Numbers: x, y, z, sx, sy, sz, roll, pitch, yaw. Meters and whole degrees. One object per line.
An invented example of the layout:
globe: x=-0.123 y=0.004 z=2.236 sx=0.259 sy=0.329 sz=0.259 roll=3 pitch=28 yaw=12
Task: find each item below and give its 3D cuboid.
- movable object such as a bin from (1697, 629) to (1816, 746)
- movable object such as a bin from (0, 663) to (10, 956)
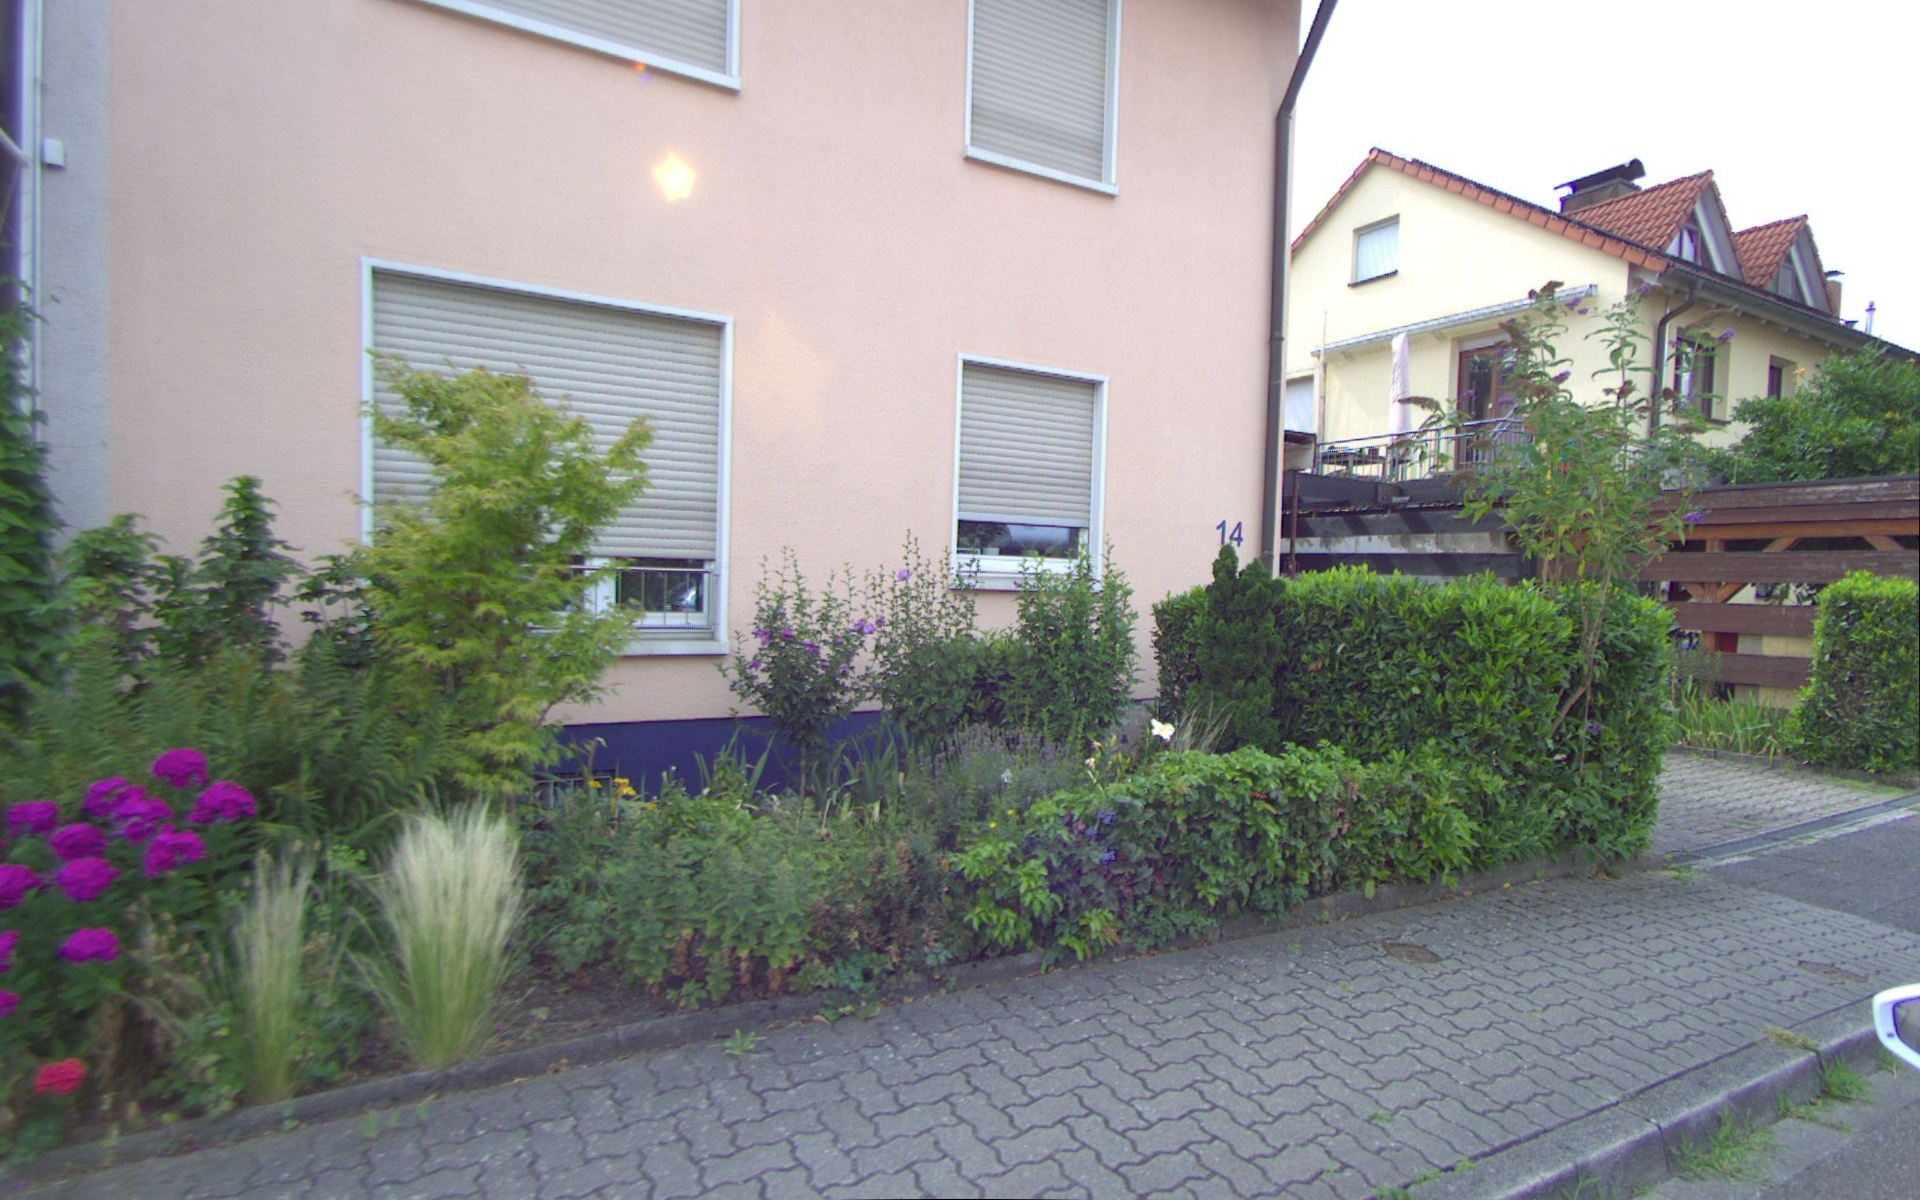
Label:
movable object such as a bin: x=8.361 y=0.884 z=10.549 sx=0.867 sy=1.145 sz=0.700 roll=1 pitch=0 yaw=-30
movable object such as a bin: x=-3.246 y=0.685 z=2.994 sx=0.500 sy=0.943 sz=0.486 roll=1 pitch=2 yaw=-31
